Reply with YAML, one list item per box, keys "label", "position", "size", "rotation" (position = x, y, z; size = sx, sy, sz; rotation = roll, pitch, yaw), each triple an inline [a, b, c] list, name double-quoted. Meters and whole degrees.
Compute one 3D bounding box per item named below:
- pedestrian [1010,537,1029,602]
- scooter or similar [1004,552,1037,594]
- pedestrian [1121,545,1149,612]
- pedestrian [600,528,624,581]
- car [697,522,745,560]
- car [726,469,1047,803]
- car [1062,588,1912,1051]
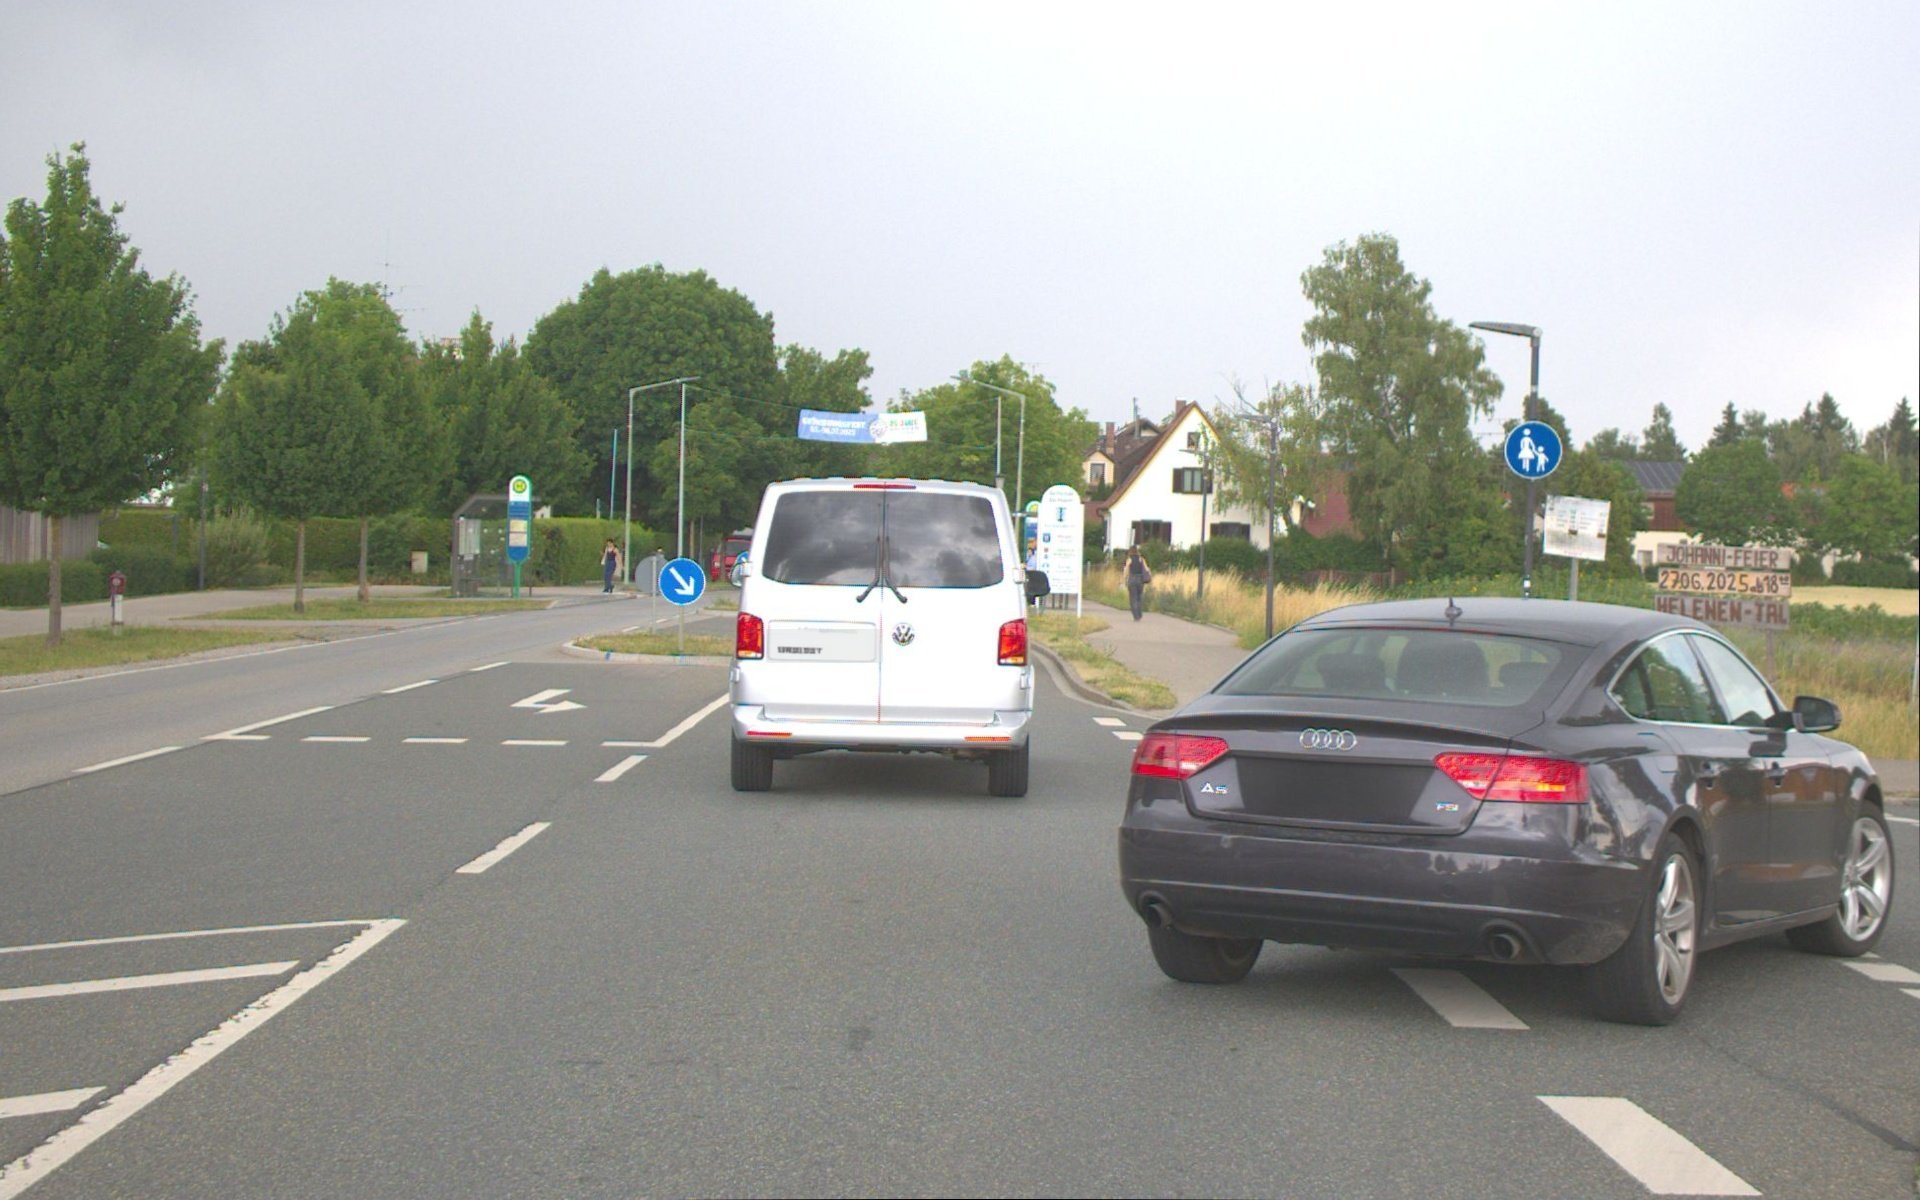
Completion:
- label: "pedestrian"
  position: [1.575, -0.813, 91.022]
  size: [0.485, 1.726, 0.642]
  rotation: [0, 1, -1]
- label: "scooter or similar"
  position: [1.621, -0.732, 91.928]
  size: [0.848, 1.100, 1.094]
  rotation: [0, 1, 0]
- label: "pedestrian"
  position: [4.054, -0.501, 79.664]
  size: [0.623, 1.519, 0.680]
  rotation: [0, 1, -1]
- label: "pedestrian"
  position: [-10.023, -1.307, 99.083]
  size: [0.623, 1.519, 0.680]
  rotation: [0, 1, -1]
- label: "car"
  position: [-9.216, -2.298, 132.967]
  size: [1.653, 1.424, 3.602]
  rotation: [0, 1, -1]
- label: "car"
  position: [-0.507, 0.170, 22.374]
  size: [1.825, 1.907, 4.001]
  rotation: [2, 1, -2]
- label: "car"
  position: [2.141, 0.688, 12.724]
  size: [1.828, 1.384, 4.381]
  rotation: [0, -1, 27]
